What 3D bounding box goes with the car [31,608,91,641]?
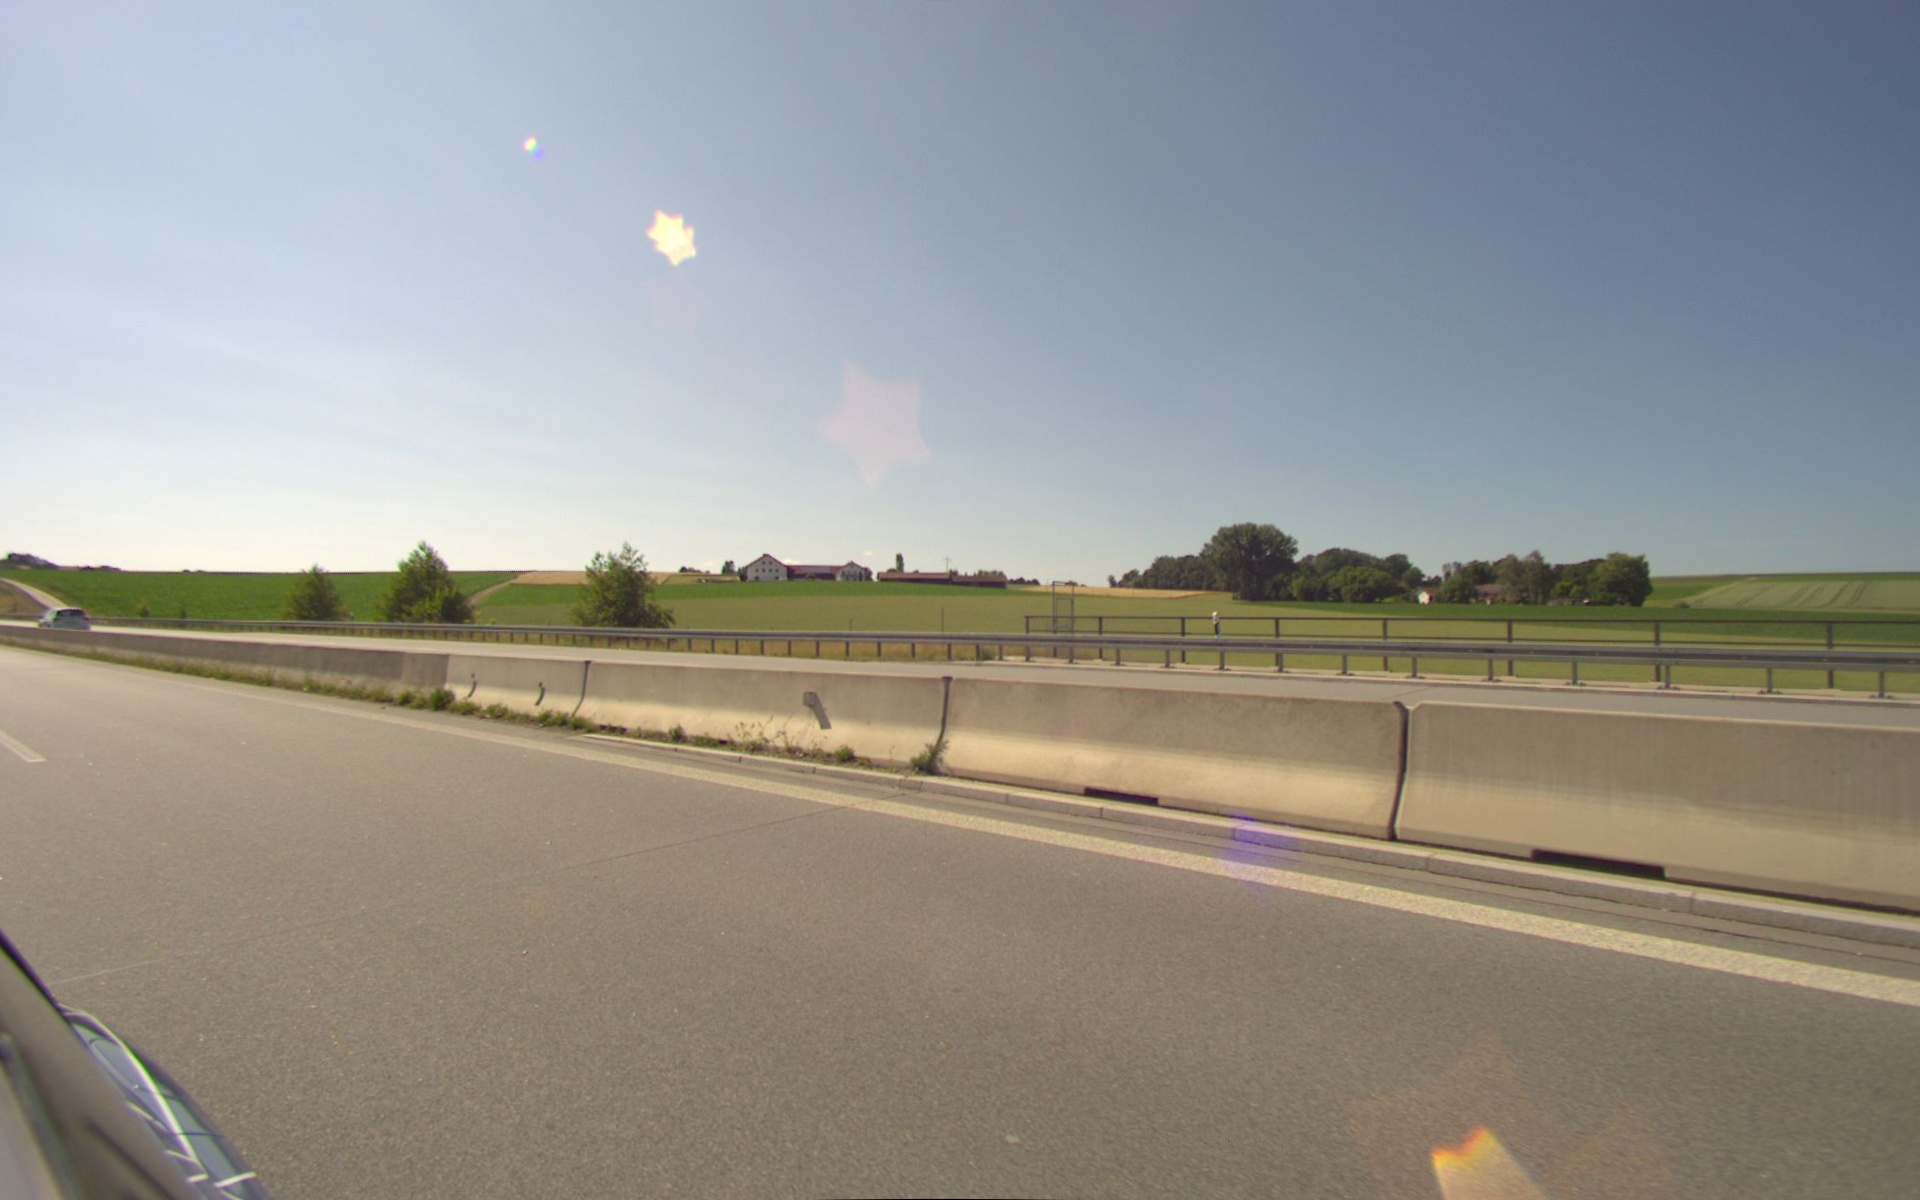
[{"bbox_3d":[-51.127,1.359,57.515,4.393,1.738,1.848,-1,0,39],"label":"car"}]
